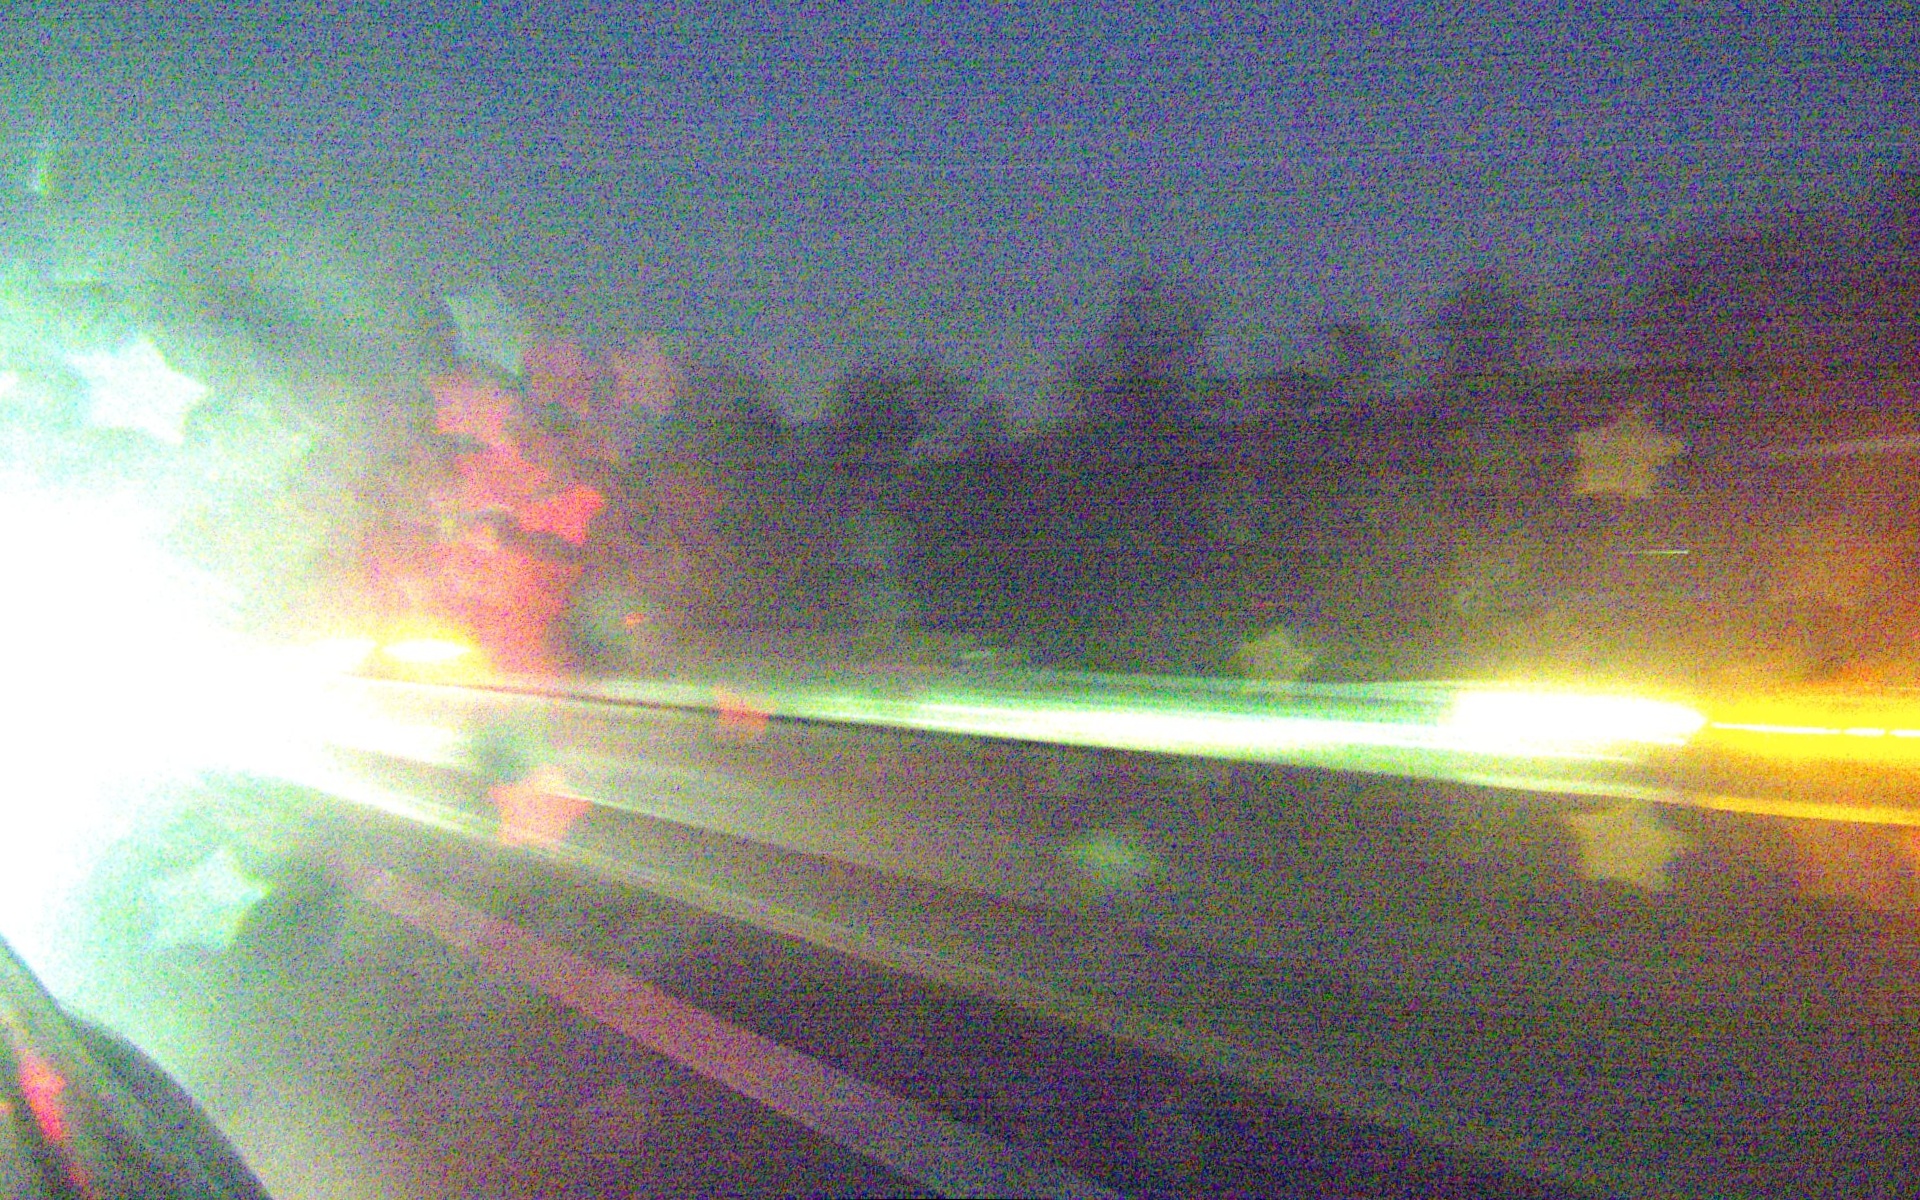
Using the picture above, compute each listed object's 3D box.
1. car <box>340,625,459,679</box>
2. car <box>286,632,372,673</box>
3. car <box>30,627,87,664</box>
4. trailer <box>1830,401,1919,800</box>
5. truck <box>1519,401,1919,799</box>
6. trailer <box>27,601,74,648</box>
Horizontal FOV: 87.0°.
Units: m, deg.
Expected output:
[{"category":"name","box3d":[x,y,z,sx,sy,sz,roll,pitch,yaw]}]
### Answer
[{"category":"car","box3d":[-20.047,1.818,36.100,4.954,1.787,1.974,-1,-3,39]},{"category":"car","box3d":[-30.257,2.468,48.470,4.954,1.787,1.974,-1,-2,39]},{"category":"car","box3d":[-53.224,2.679,59.727,4.292,2.029,1.973,-3,-1,41]},{"category":"trailer","box3d":[16.440,-0.107,7.087,15.637,4.253,2.662,-1,0,42]},{"category":"truck","box3d":[10.417,0.004,12.447,5.732,4.253,2.662,-1,0,41]},{"category":"trailer","box3d":[-99.844,2.707,111.029,10.162,4.860,2.381,-2,0,40]}]
